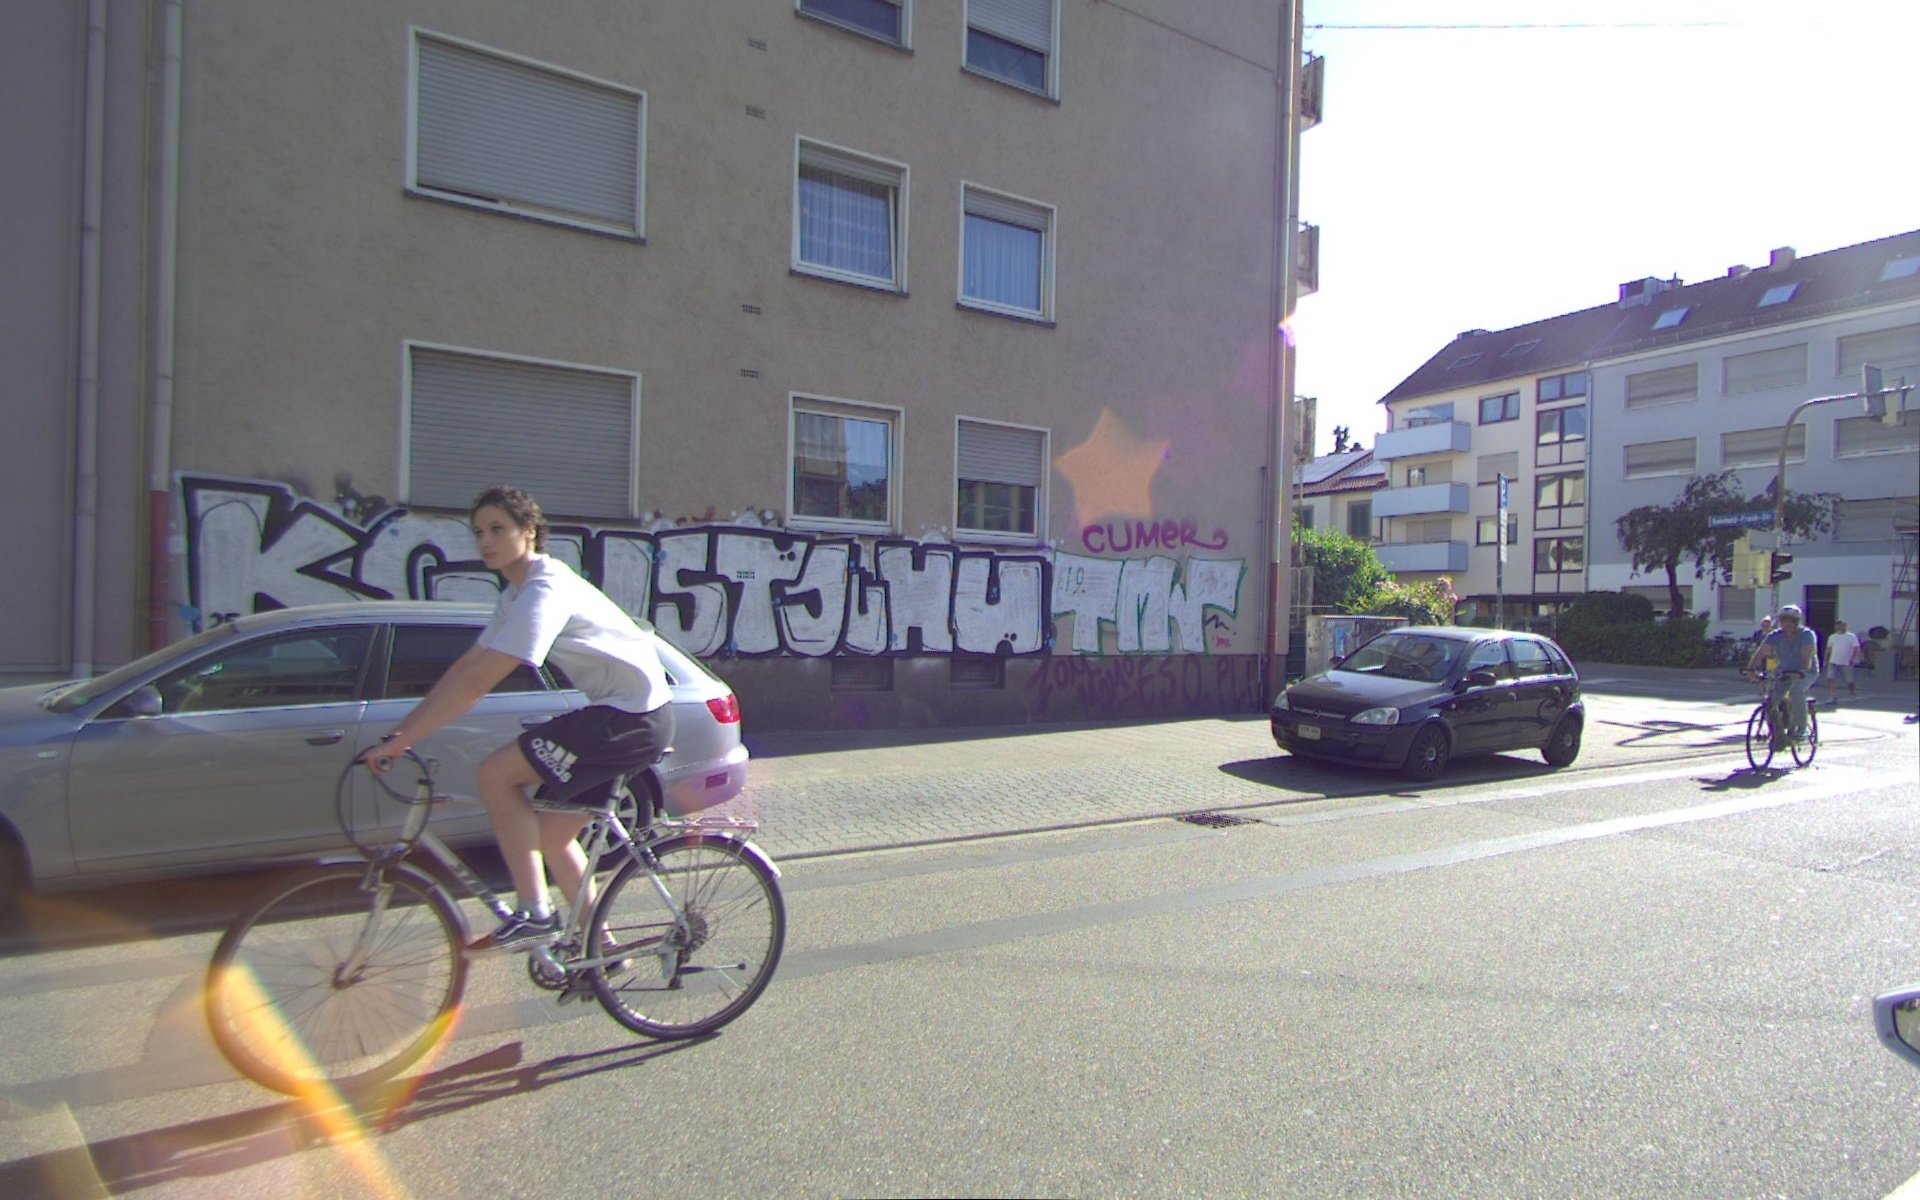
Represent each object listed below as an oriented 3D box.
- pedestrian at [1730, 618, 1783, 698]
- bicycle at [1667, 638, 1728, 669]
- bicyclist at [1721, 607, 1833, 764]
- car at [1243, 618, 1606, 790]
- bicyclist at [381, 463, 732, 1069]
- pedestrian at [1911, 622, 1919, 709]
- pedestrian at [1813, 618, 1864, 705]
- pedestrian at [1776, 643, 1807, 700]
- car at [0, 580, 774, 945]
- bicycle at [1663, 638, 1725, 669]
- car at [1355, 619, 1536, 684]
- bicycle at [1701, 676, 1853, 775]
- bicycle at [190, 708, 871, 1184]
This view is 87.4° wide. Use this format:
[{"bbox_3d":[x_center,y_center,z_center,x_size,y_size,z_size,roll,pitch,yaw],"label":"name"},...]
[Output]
[{"bbox_3d":[17.420,1.252,21.964,0.957,1.705,0.570,1,0,-29],"label":"pedestrian"},{"bbox_3d":[24.451,1.751,33.330,0.506,0.952,1.583,1,-1,-27],"label":"bicycle"},{"bbox_3d":[9.034,0.917,11.118,0.888,1.652,0.676,1,-2,-30],"label":"bicyclist"},{"bbox_3d":[5.031,0.993,10.773,3.813,1.468,1.682,1,2,-32],"label":"car"},{"bbox_3d":[-1.322,0.464,3.276,0.935,1.641,0.713,2,-1,-30],"label":"bicyclist"},{"bbox_3d":[18.165,1.225,18.688,0.556,1.602,0.529,1,0,-30],"label":"pedestrian"},{"bbox_3d":[17.789,1.231,20.339,0.661,1.711,0.571,1,0,-27],"label":"pedestrian"},{"bbox_3d":[17.556,1.507,21.214,0.527,1.161,0.383,1,0,-37],"label":"pedestrian"},{"bbox_3d":[-3.638,0.715,5.671,4.748,1.523,1.813,1,2,-32],"label":"car"},{"bbox_3d":[23.987,1.734,32.849,0.506,0.952,1.583,1,-1,-27],"label":"bicycle"},{"bbox_3d":[13.401,1.354,27.984,1.911,1.455,4.235,-3,2,-29],"label":"car"},{"bbox_3d":[9.067,1.353,11.127,1.911,0.964,0.676,1,-2,-30],"label":"bicycle"},{"bbox_3d":[-1.290,0.948,3.295,1.850,1.078,0.713,2,-1,-30],"label":"bicycle"}]
